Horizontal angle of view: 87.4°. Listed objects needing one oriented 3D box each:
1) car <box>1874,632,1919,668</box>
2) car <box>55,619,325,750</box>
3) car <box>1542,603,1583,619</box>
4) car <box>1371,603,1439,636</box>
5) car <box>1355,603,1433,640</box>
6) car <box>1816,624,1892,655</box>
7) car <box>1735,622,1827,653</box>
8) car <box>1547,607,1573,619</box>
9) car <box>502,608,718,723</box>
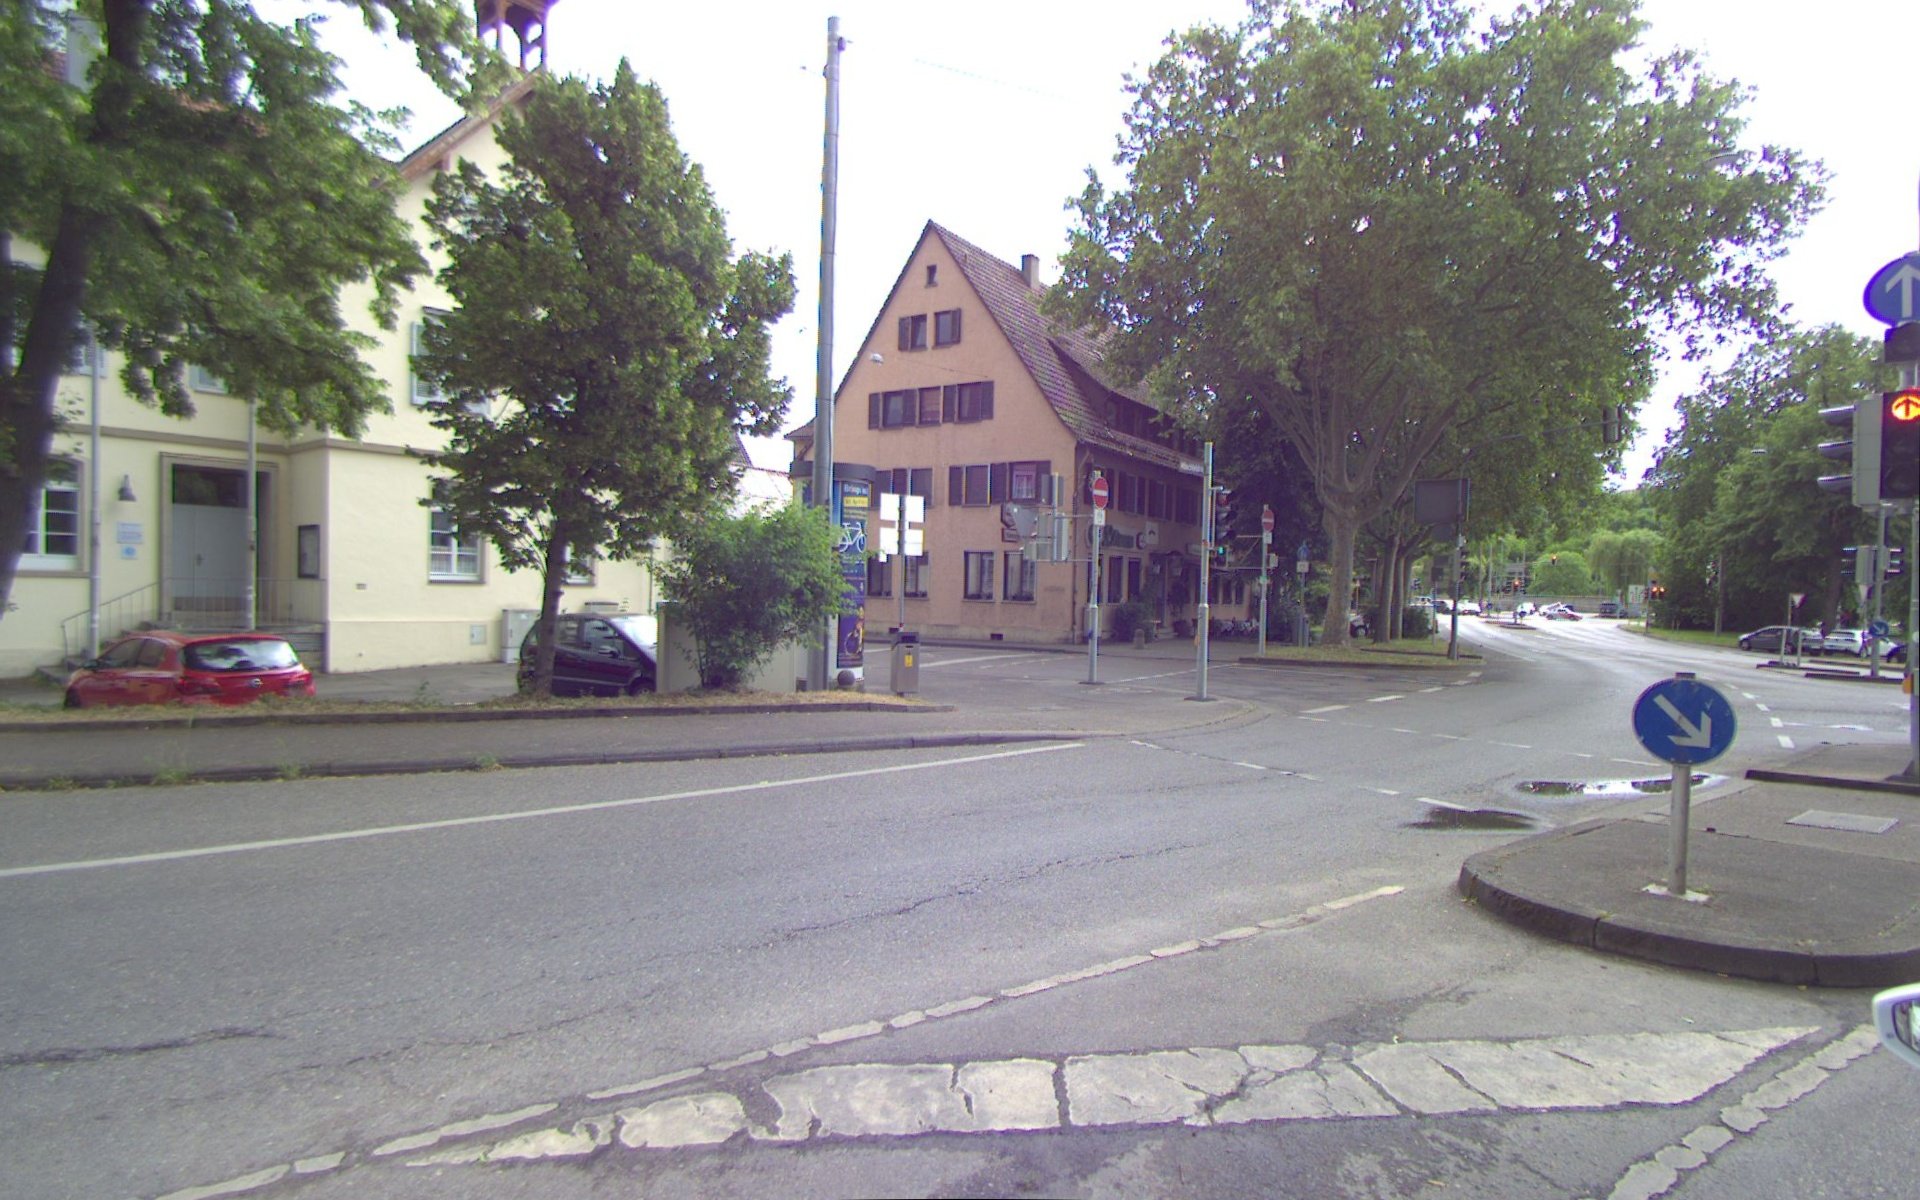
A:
[{"bbox_3d":[39.567,2.083,40.946,1.442,1.412,3.596,2,0,3],"label":"car"},{"bbox_3d":[-10.176,1.012,13.245,3.492,1.397,1.605,2,0,30],"label":"car"},{"bbox_3d":[73.660,1.336,122.853,1.986,1.806,3.948,2,0,-43],"label":"car"},{"bbox_3d":[25.466,1.091,57.467,3.387,1.765,1.570,2,0,28],"label":"car"},{"bbox_3d":[21.406,1.052,49.583,3.387,1.663,1.570,2,0,28],"label":"car"},{"bbox_3d":[47.299,2.088,53.162,3.342,1.484,1.543,2,0,-19],"label":"car"},{"bbox_3d":[43.860,1.975,53.762,1.559,1.484,3.543,2,0,-17],"label":"car"},{"bbox_3d":[108.220,2.340,181.095,3.928,2.040,1.996,2,0,30],"label":"car"},{"bbox_3d":[-5.765,1.005,16.593,3.035,1.654,1.607,2,0,22],"label":"car"}]
